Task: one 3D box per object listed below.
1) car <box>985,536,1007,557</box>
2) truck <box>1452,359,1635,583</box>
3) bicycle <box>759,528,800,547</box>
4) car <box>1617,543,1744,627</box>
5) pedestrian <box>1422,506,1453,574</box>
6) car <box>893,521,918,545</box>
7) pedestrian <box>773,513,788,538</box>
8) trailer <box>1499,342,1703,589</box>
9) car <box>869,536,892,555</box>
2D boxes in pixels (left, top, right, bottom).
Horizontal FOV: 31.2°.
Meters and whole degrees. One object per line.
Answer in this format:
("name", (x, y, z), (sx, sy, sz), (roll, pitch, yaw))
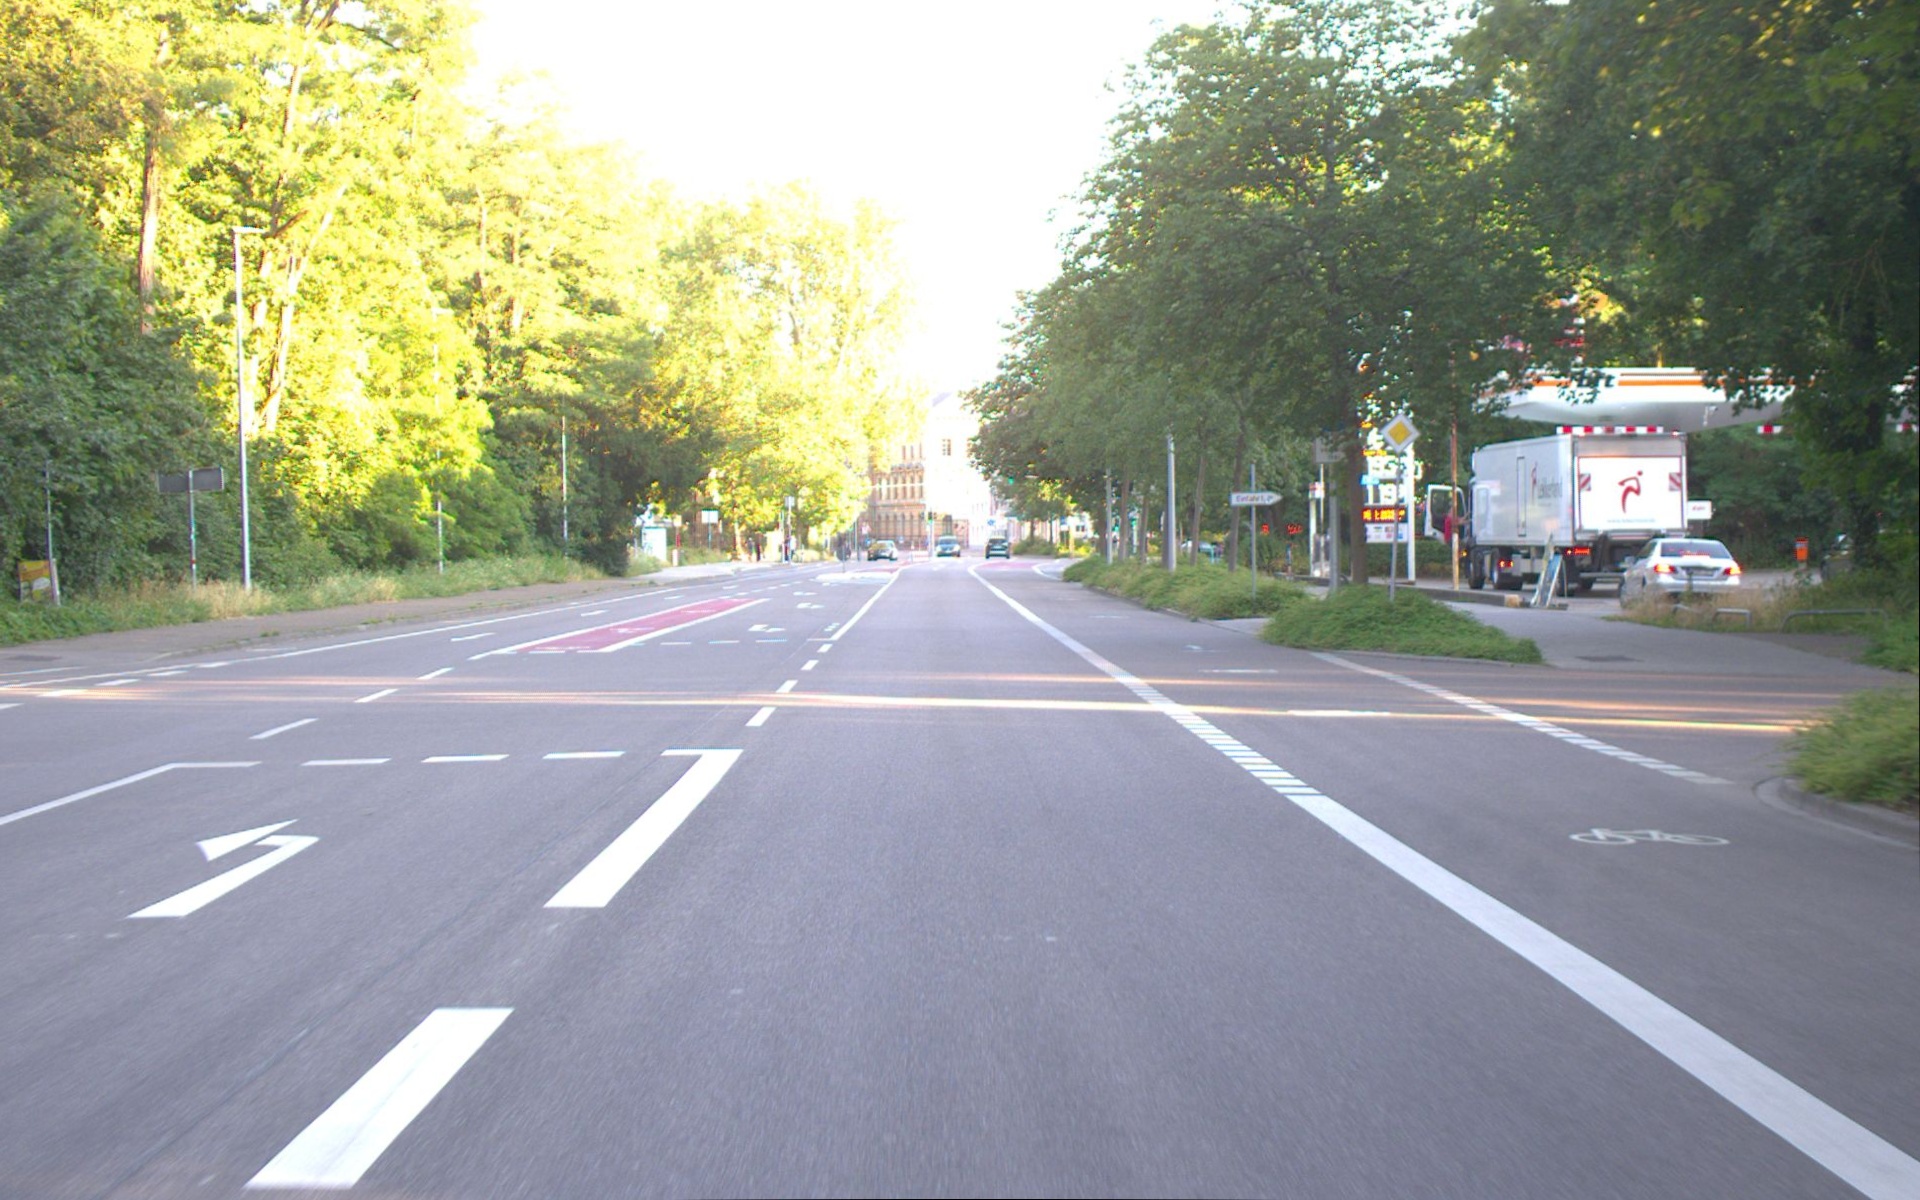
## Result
("car", (2.586, -3.809, 246.930), (1.493, 1.481, 3.491), (-1, 1, 1))
("truck", (14.915, -3.278, 88.593), (3.033, 5.437, 8.411), (2, 1, -1))
("bicycle", (-11.510, -4.005, 219.328), (2.463, 1.191, 0.757), (0, 1, 10))
("car", (14.382, -0.333, 68.845), (1.770, 1.578, 4.819), (1, 1, 3))
("pedestrian", (12.816, -1.614, 92.263), (0.757, 1.791, 0.706), (1, 1, 3))
("car", (-3.447, -4.257, 219.554), (1.493, 1.481, 3.491), (-1, 1, 1))
("pedestrian", (-11.437, -4.725, 219.313), (0.791, 1.575, 0.745), (1, 1, 9))
("trailer", (15.045, -3.116, 81.342), (3.020, 5.443, 7.935), (2, 1, -1))
("car", (-5.442, -3.755, 236.337), (1.493, 1.287, 3.491), (-1, 1, 1))
